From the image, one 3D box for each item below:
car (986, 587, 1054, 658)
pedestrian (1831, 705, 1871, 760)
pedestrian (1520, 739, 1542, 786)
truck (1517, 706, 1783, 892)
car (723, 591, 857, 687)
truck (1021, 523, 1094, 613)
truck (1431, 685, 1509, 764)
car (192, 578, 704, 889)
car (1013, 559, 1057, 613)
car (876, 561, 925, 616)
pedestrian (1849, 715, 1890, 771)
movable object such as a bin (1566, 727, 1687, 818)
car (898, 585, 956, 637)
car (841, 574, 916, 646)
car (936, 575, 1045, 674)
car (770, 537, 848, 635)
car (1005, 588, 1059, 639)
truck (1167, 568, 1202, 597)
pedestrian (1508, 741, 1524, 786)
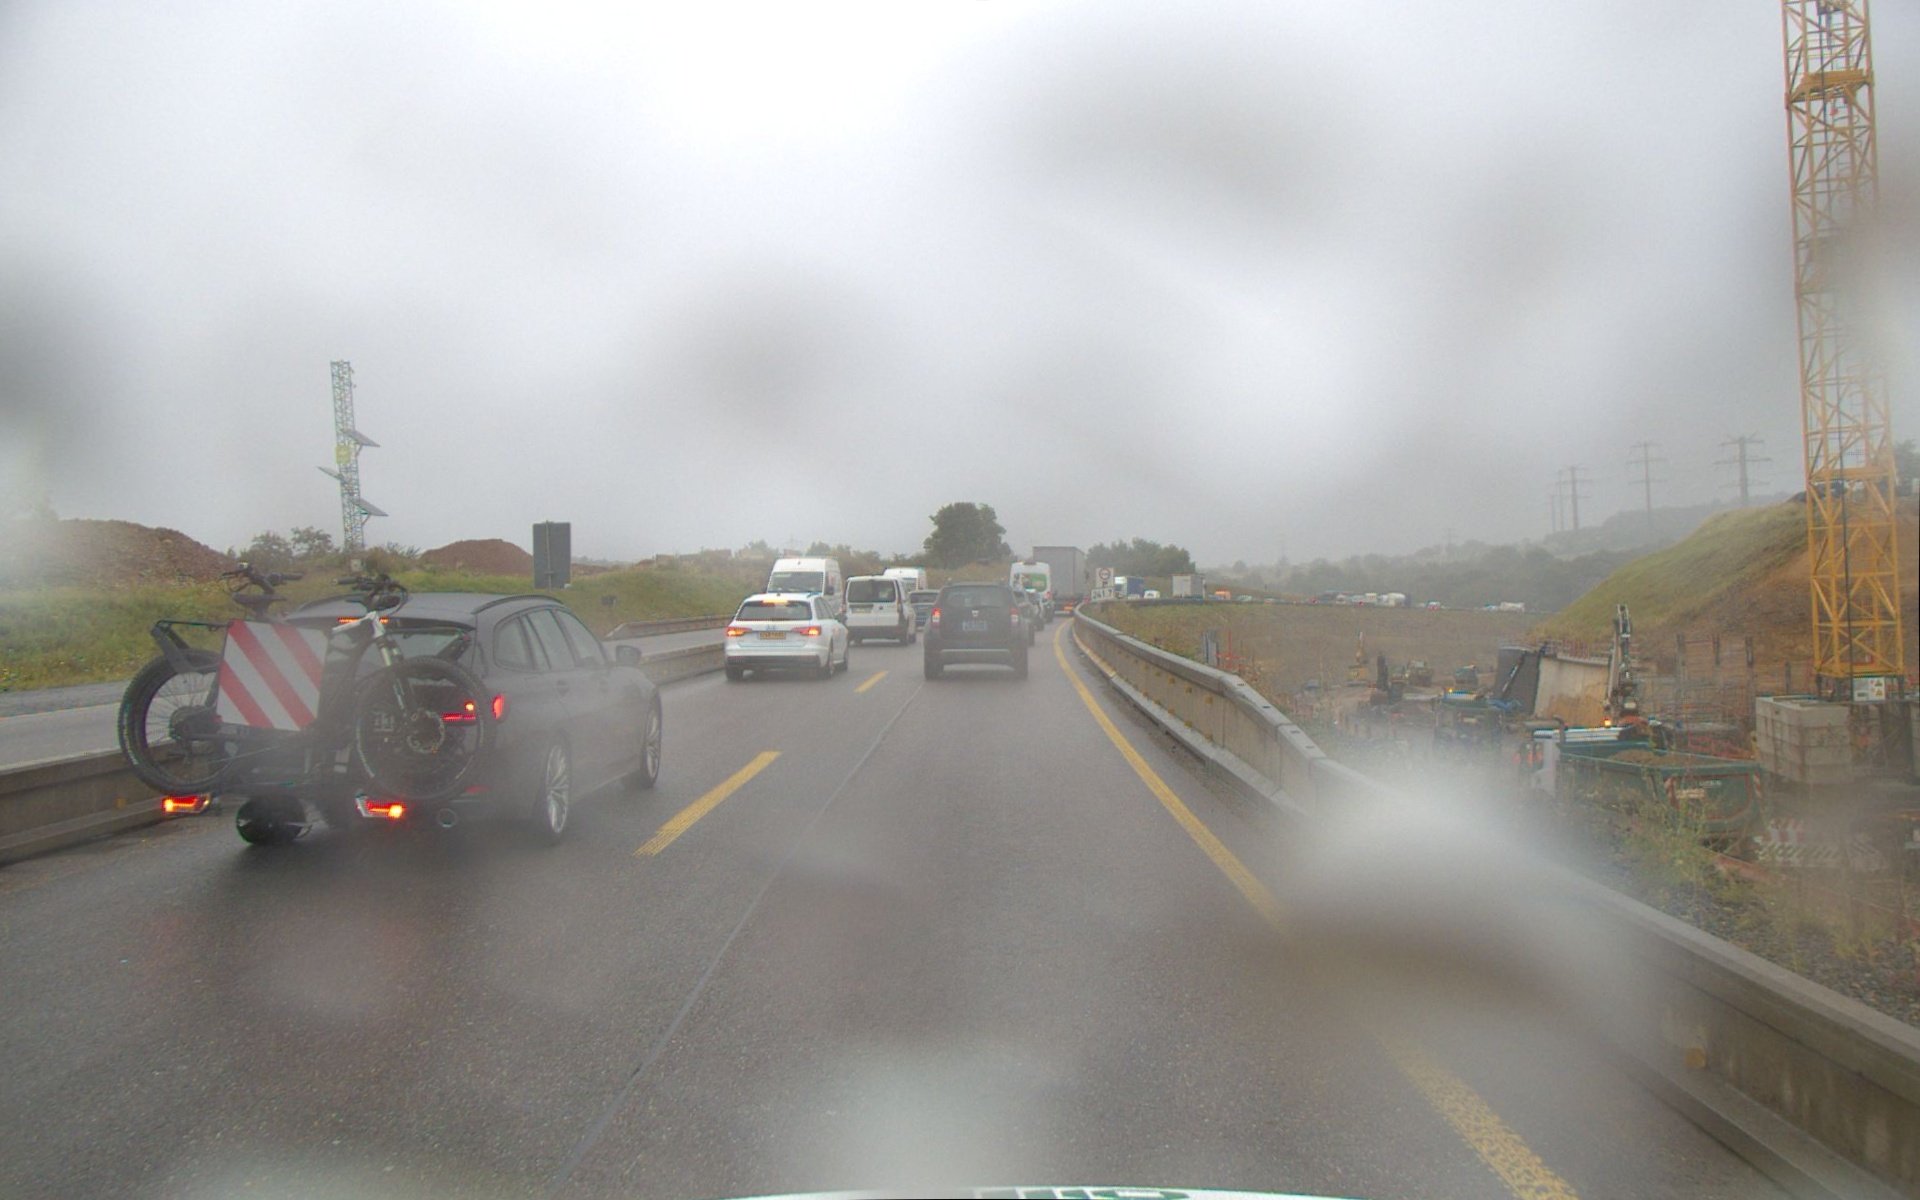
[{"bbox_3d":[1.685,0.603,45.678,1.788,1.847,4.001,1,-1,3],"label":"car"},{"bbox_3d":[36.028,5.361,66.912,0.885,2.031,0.899,10,0,9],"label":"pedestrian"},{"bbox_3d":[25.026,7.114,72.449,0.566,1.978,0.730,1,-1,-24],"label":"pedestrian"},{"bbox_3d":[16.743,4.676,40.969,2.645,3.565,8.944,1,-1,-2],"label":"truck"},{"bbox_3d":[-2.877,0.650,28.784,1.788,1.525,4.001,1,-1,2],"label":"car"},{"bbox_3d":[6.061,-1.831,100.775,3.468,5.166,10.449,1,-1,8],"label":"truck"},{"bbox_3d":[27.250,6.573,88.750,2.671,3.552,9.072,1,-1,9],"label":"truck"},{"bbox_3d":[-3.045,0.649,11.257,1.699,1.488,5.630,0,2,0],"label":"car"},{"bbox_3d":[3.582,-0.638,78.674,1.787,2.480,4.160,1,-1,6],"label":"car"},{"bbox_3d":[-2.891,-0.582,81.580,1.982,2.593,5.959,-1,1,2],"label":"car"},{"bbox_3d":[36.038,5.657,65.545,0.885,2.031,0.899,10,0,9],"label":"pedestrian"},{"bbox_3d":[22.799,5.881,56.745,3.083,2.786,2.970,1,-1,4],"label":"movable object such as a bin"},{"bbox_3d":[-1.186,0.413,61.244,1.788,1.847,4.002,1,-1,4],"label":"car"},{"bbox_3d":[-2.179,0.274,44.984,1.789,1.847,4.000,1,-1,0],"label":"car"},{"bbox_3d":[0.535,0.418,29.432,1.789,1.619,4.000,1,-1,1],"label":"car"},{"bbox_3d":[-4.931,-0.465,54.714,1.952,3.066,5.780,1,0,1],"label":"car"},{"bbox_3d":[2.770,0.516,62.928,1.787,1.847,4.002,1,-1,6],"label":"car"},{"bbox_3d":[30.272,-2.350,222.729,3.399,3.780,8.423,-1,0,16],"label":"truck"},{"bbox_3d":[24.598,7.214,73.176,0.561,1.902,0.736,0,-1,11],"label":"pedestrian"}]
